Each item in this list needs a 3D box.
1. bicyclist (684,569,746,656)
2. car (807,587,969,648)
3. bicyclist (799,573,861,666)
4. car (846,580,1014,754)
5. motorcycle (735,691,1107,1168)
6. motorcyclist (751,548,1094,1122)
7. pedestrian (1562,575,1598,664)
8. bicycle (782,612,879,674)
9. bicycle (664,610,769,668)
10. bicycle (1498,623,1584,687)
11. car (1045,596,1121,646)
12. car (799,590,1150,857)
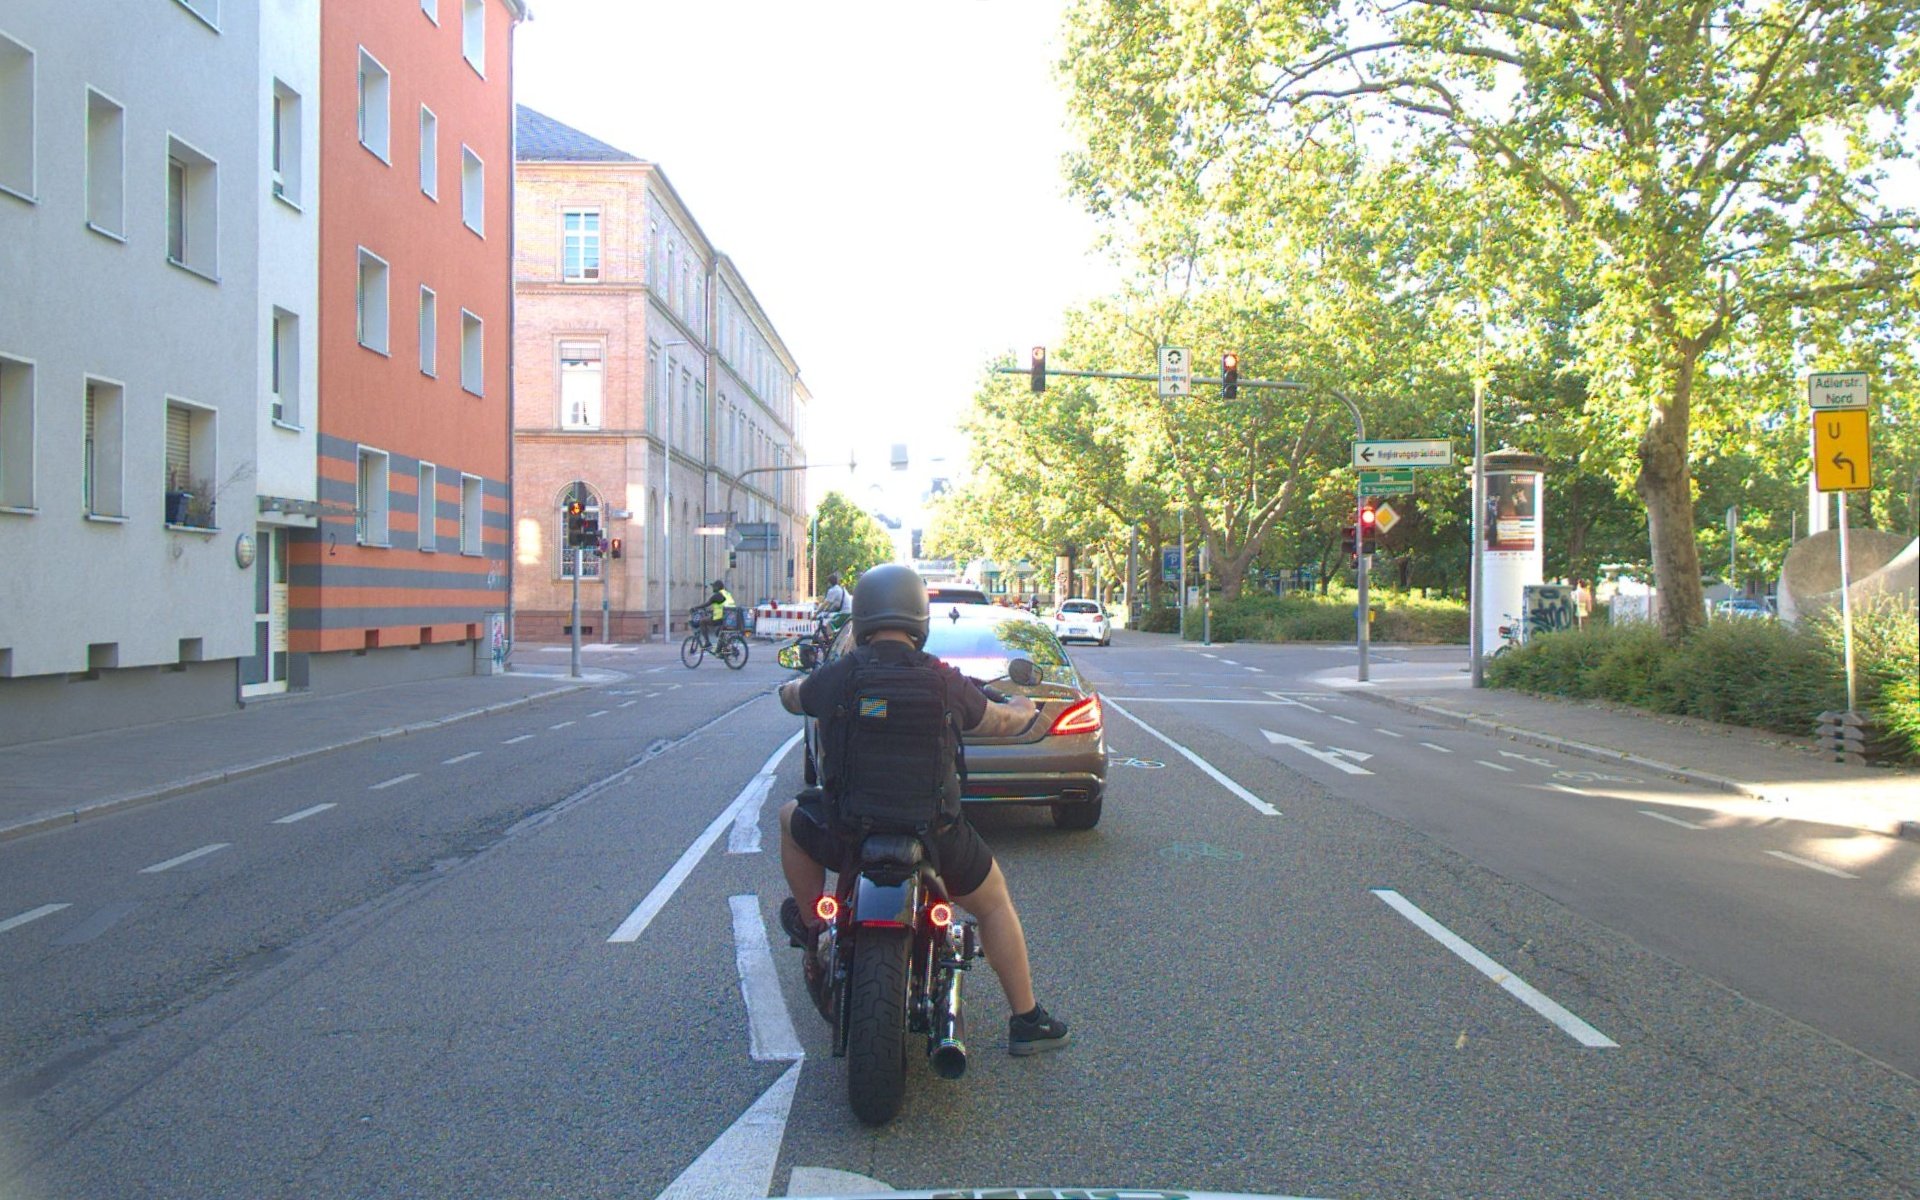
[{"bbox_3d":[-4.959,0.262,33.499,1.024,1.724,0.704,-1,-1,29],"label":"bicyclist"},{"bbox_3d":[-1.894,0.446,43.511,3.846,1.506,1.813,-1,0,-25],"label":"car"},{"bbox_3d":[-2.447,0.357,31.217,0.945,1.722,0.703,0,0,36],"label":"bicyclist"},{"bbox_3d":[-0.338,0.619,17.753,1.580,1.636,4.327,0,0,-2],"label":"car"},{"bbox_3d":[-0.119,0.926,5.550,0.969,1.097,2.451,0,0,-1],"label":"motorcycle"},{"bbox_3d":[-0.114,0.663,5.396,0.969,1.625,1.403,0,0,-1],"label":"motorcyclist"},{"bbox_3d":[13.200,0.414,35.210,0.540,1.881,0.593,0,0,0],"label":"pedestrian"},{"bbox_3d":[-2.449,0.796,31.214,1.843,1.123,0.702,0,0,37],"label":"bicycle"},{"bbox_3d":[-4.943,0.790,33.491,2.115,1.123,0.704,-1,-1,29],"label":"bicycle"},{"bbox_3d":[9.726,0.919,27.694,1.324,1.041,0.363,0,0,0],"label":"bicycle"},{"bbox_3d":[4.020,0.670,53.505,1.816,1.512,3.911,1,0,14],"label":"car"},{"bbox_3d":[-0.115,0.684,11.590,1.909,1.498,4.355,0,0,-7],"label":"car"}]
